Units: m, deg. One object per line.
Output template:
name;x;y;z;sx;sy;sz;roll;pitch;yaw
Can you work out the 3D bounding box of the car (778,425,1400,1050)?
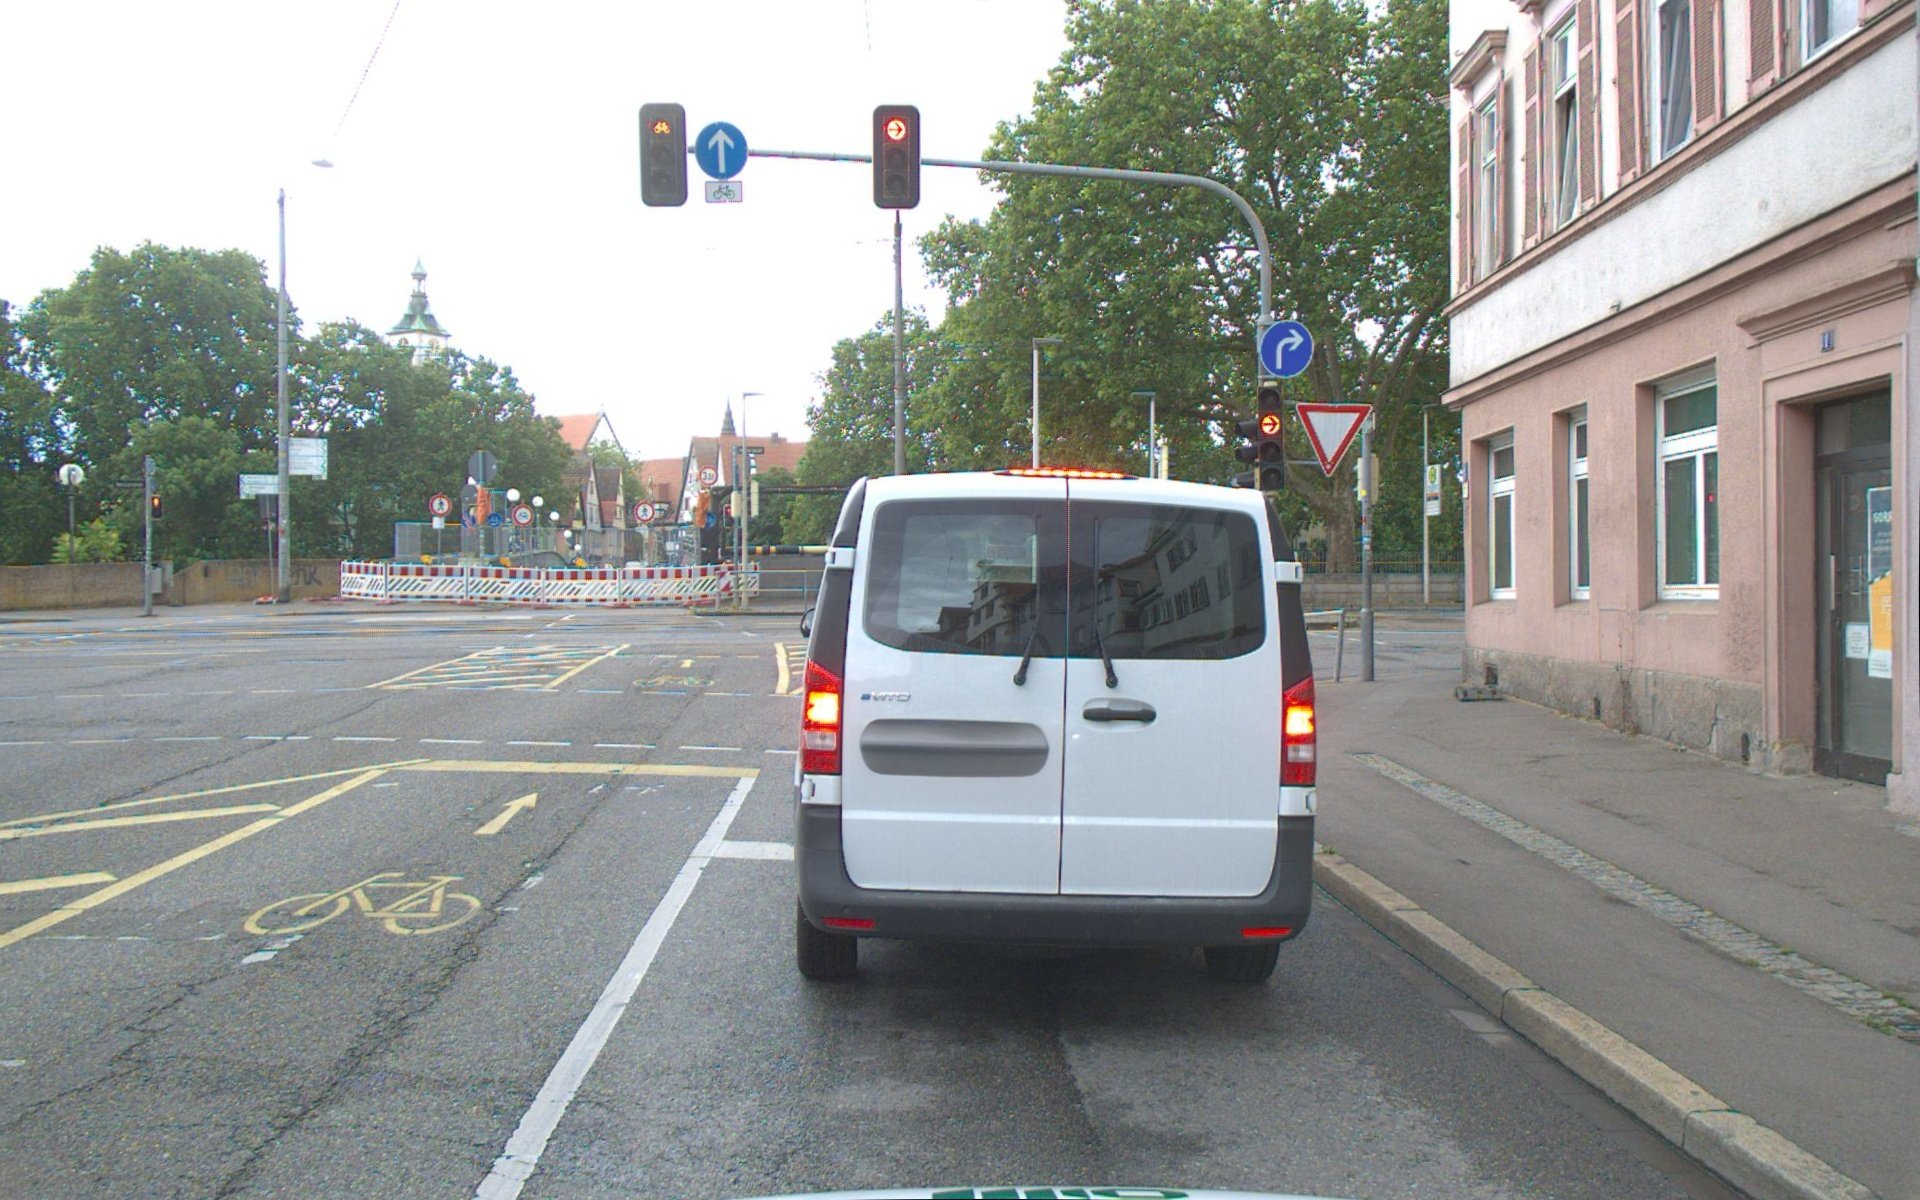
car;0.288;0.370;7.354;1.954;1.956;4.247;1;2;-4
